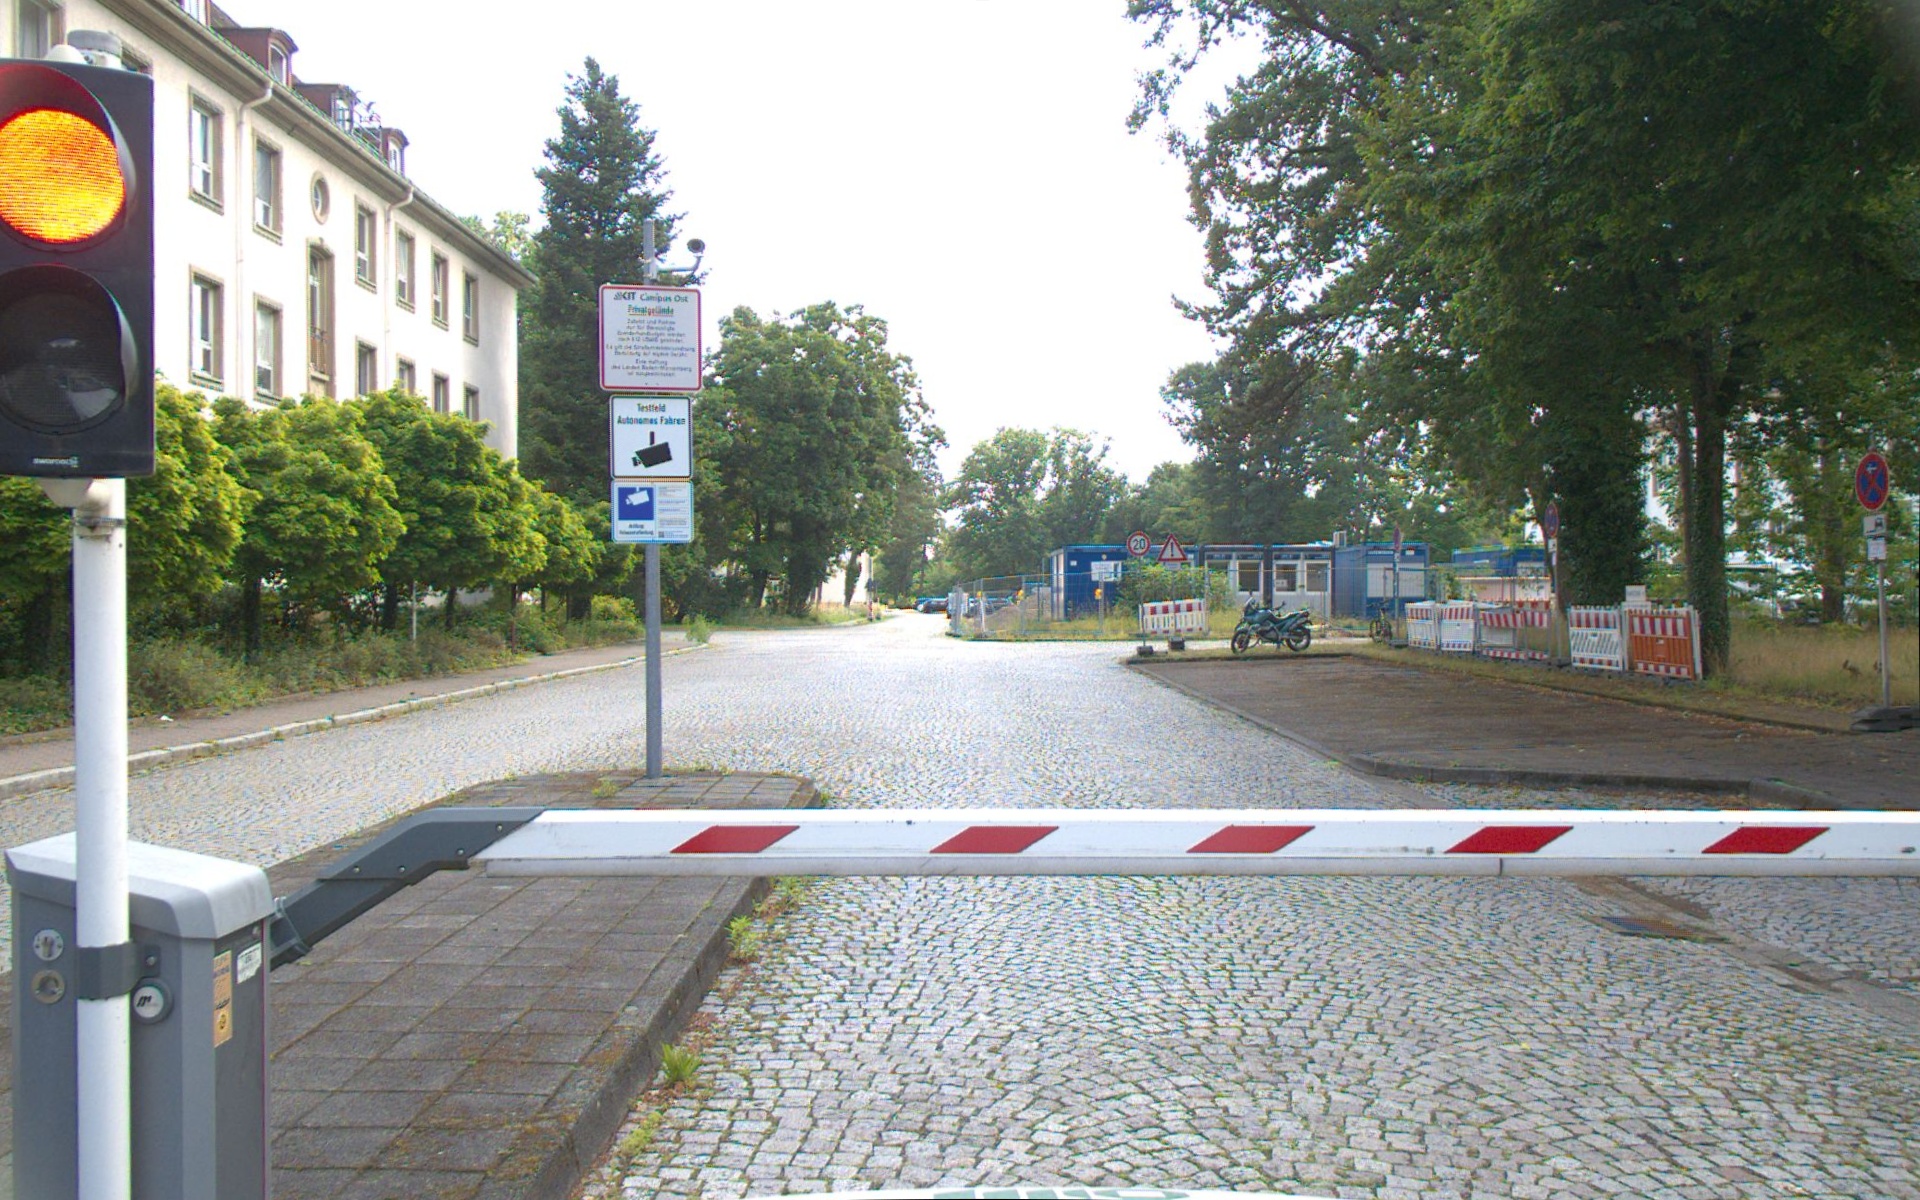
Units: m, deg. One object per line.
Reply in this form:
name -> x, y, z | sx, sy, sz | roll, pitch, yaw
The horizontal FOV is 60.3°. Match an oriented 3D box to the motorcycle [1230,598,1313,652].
motorcycle -> 7.598, 0.604, 40.379 | 1.917, 1.215, 0.461 | -2, 5, -2

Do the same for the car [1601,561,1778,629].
car -> 20.559, -0.129, 46.740 | 4.132, 1.852, 2.000 | 0, -1, 2

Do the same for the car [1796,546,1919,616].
car -> 28.186, -0.568, 51.382 | 1.953, 2.049, 4.839 | -1, 0, -1

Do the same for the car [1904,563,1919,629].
car -> 26.292, -0.122, 40.935 | 1.971, 1.679, 4.795 | 0, -1, -28

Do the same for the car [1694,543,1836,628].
car -> 24.511, -0.394, 50.623 | 1.952, 2.466, 5.358 | 0, -1, 3

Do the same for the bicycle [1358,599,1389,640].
bicycle -> 10.486, 0.507, 41.963 | 0.325, 1.025, 1.725 | -1, -2, -1
